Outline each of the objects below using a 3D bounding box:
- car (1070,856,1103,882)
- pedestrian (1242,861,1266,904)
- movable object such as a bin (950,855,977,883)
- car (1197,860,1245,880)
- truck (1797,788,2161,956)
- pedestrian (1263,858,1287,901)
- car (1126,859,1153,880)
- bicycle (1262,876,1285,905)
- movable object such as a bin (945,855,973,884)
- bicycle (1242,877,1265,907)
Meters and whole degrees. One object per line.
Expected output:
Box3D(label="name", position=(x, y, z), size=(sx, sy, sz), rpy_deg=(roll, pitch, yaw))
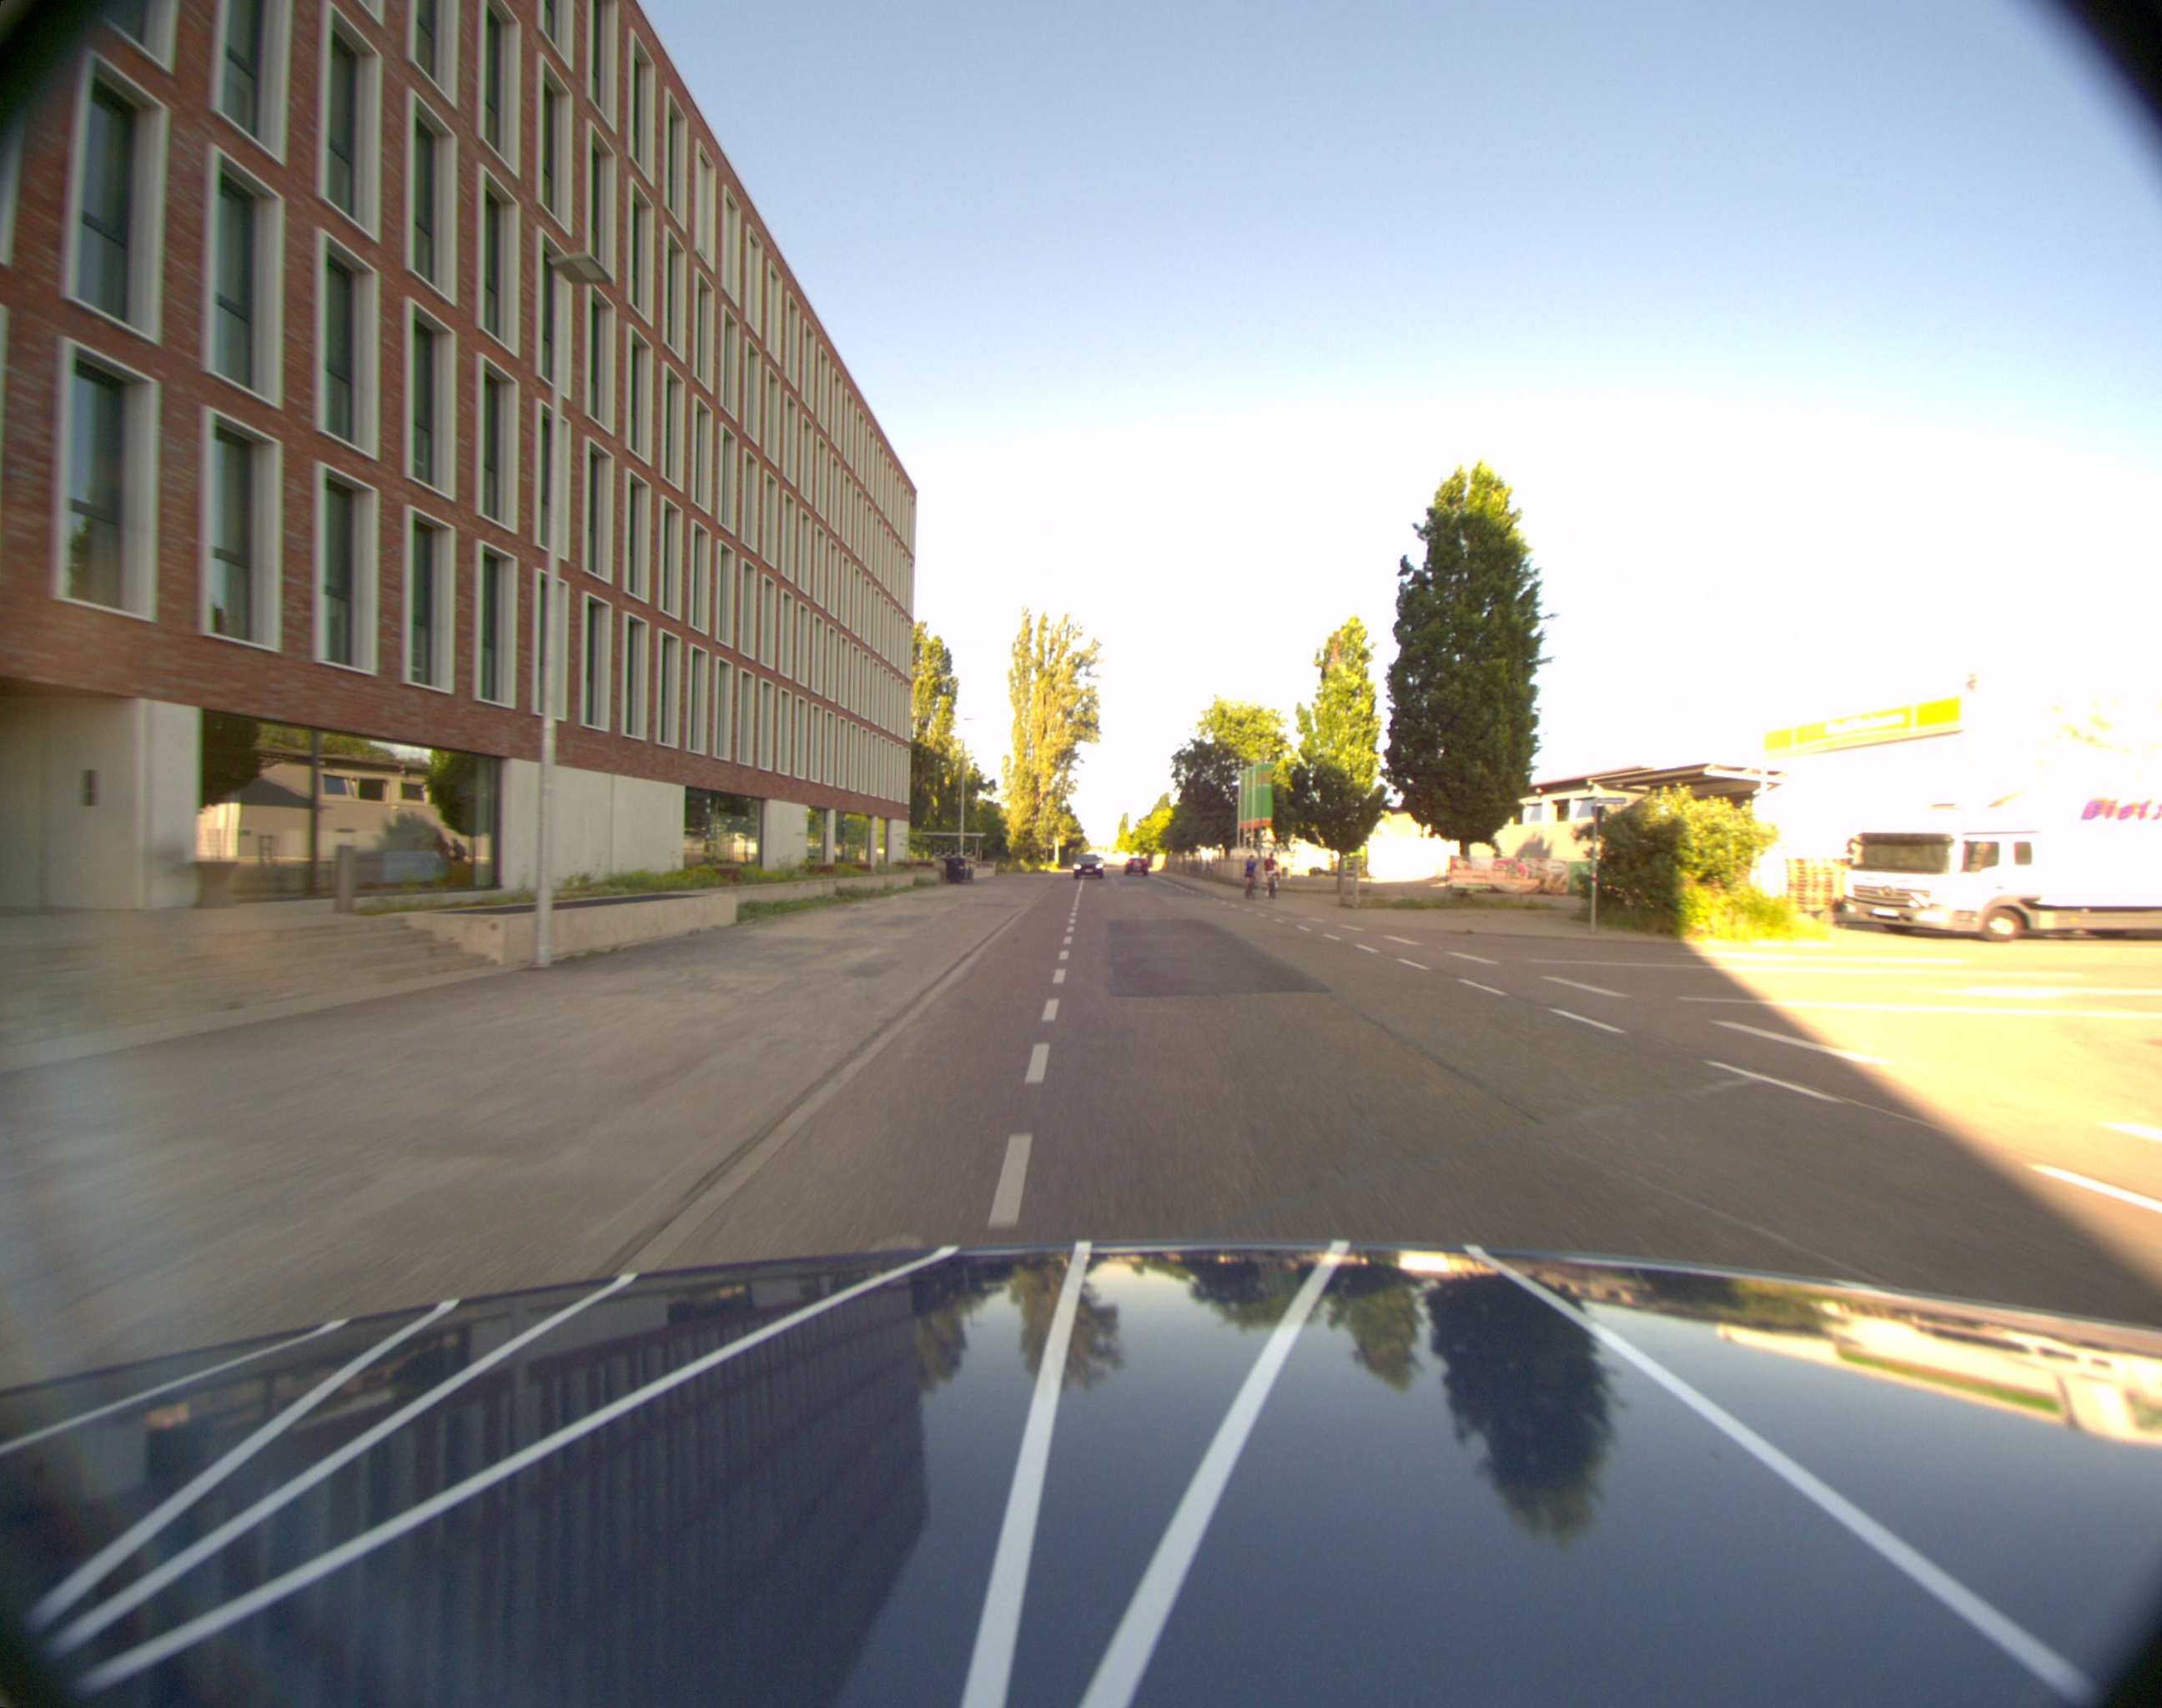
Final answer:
Box3D(label="car", position=(0.426, 0.979, 51.780), size=(1.998, 1.608, 4.001), rpy_deg=(-2, 0, 3))
Box3D(label="pedestrian", position=(7.085, 1.157, 31.210), size=(0.722, 1.710, 1.057), rpy_deg=(1, 0, 1))
Box3D(label="movable object such as a bin", position=(-5.979, 0.745, 38.721), size=(1.131, 1.363, 1.345), rpy_deg=(1, 0, 0))
Box3D(label="car", position=(12.659, 1.430, 68.945), size=(3.899, 1.502, 1.786), rpy_deg=(4, 0, 1))
Box3D(label="truck", position=(23.028, 0.393, 17.669), size=(10.124, 3.593, 2.775), rpy_deg=(0, 1, 0))
Box3D(label="pedestrian", position=(7.960, 1.035, 31.202), size=(0.722, 1.710, 1.057), rpy_deg=(1, 0, 1))
Box3D(label="car", position=(4.713, 1.260, 61.473), size=(1.745, 1.517, 4.112), rpy_deg=(5, -1, 0))
Box3D(label="bicycle", position=(7.918, 1.479, 31.278), size=(0.471, 1.142, 1.869), rpy_deg=(0, 0, 1))
Box3D(label="movable object such as a bin", position=(-5.963, 0.754, 37.232), size=(1.131, 1.328, 1.345), rpy_deg=(1, 0, 0))
Box3D(label="bicycle", position=(7.069, 1.526, 31.159), size=(0.447, 1.142, 2.201), rpy_deg=(0, 0, 1))
